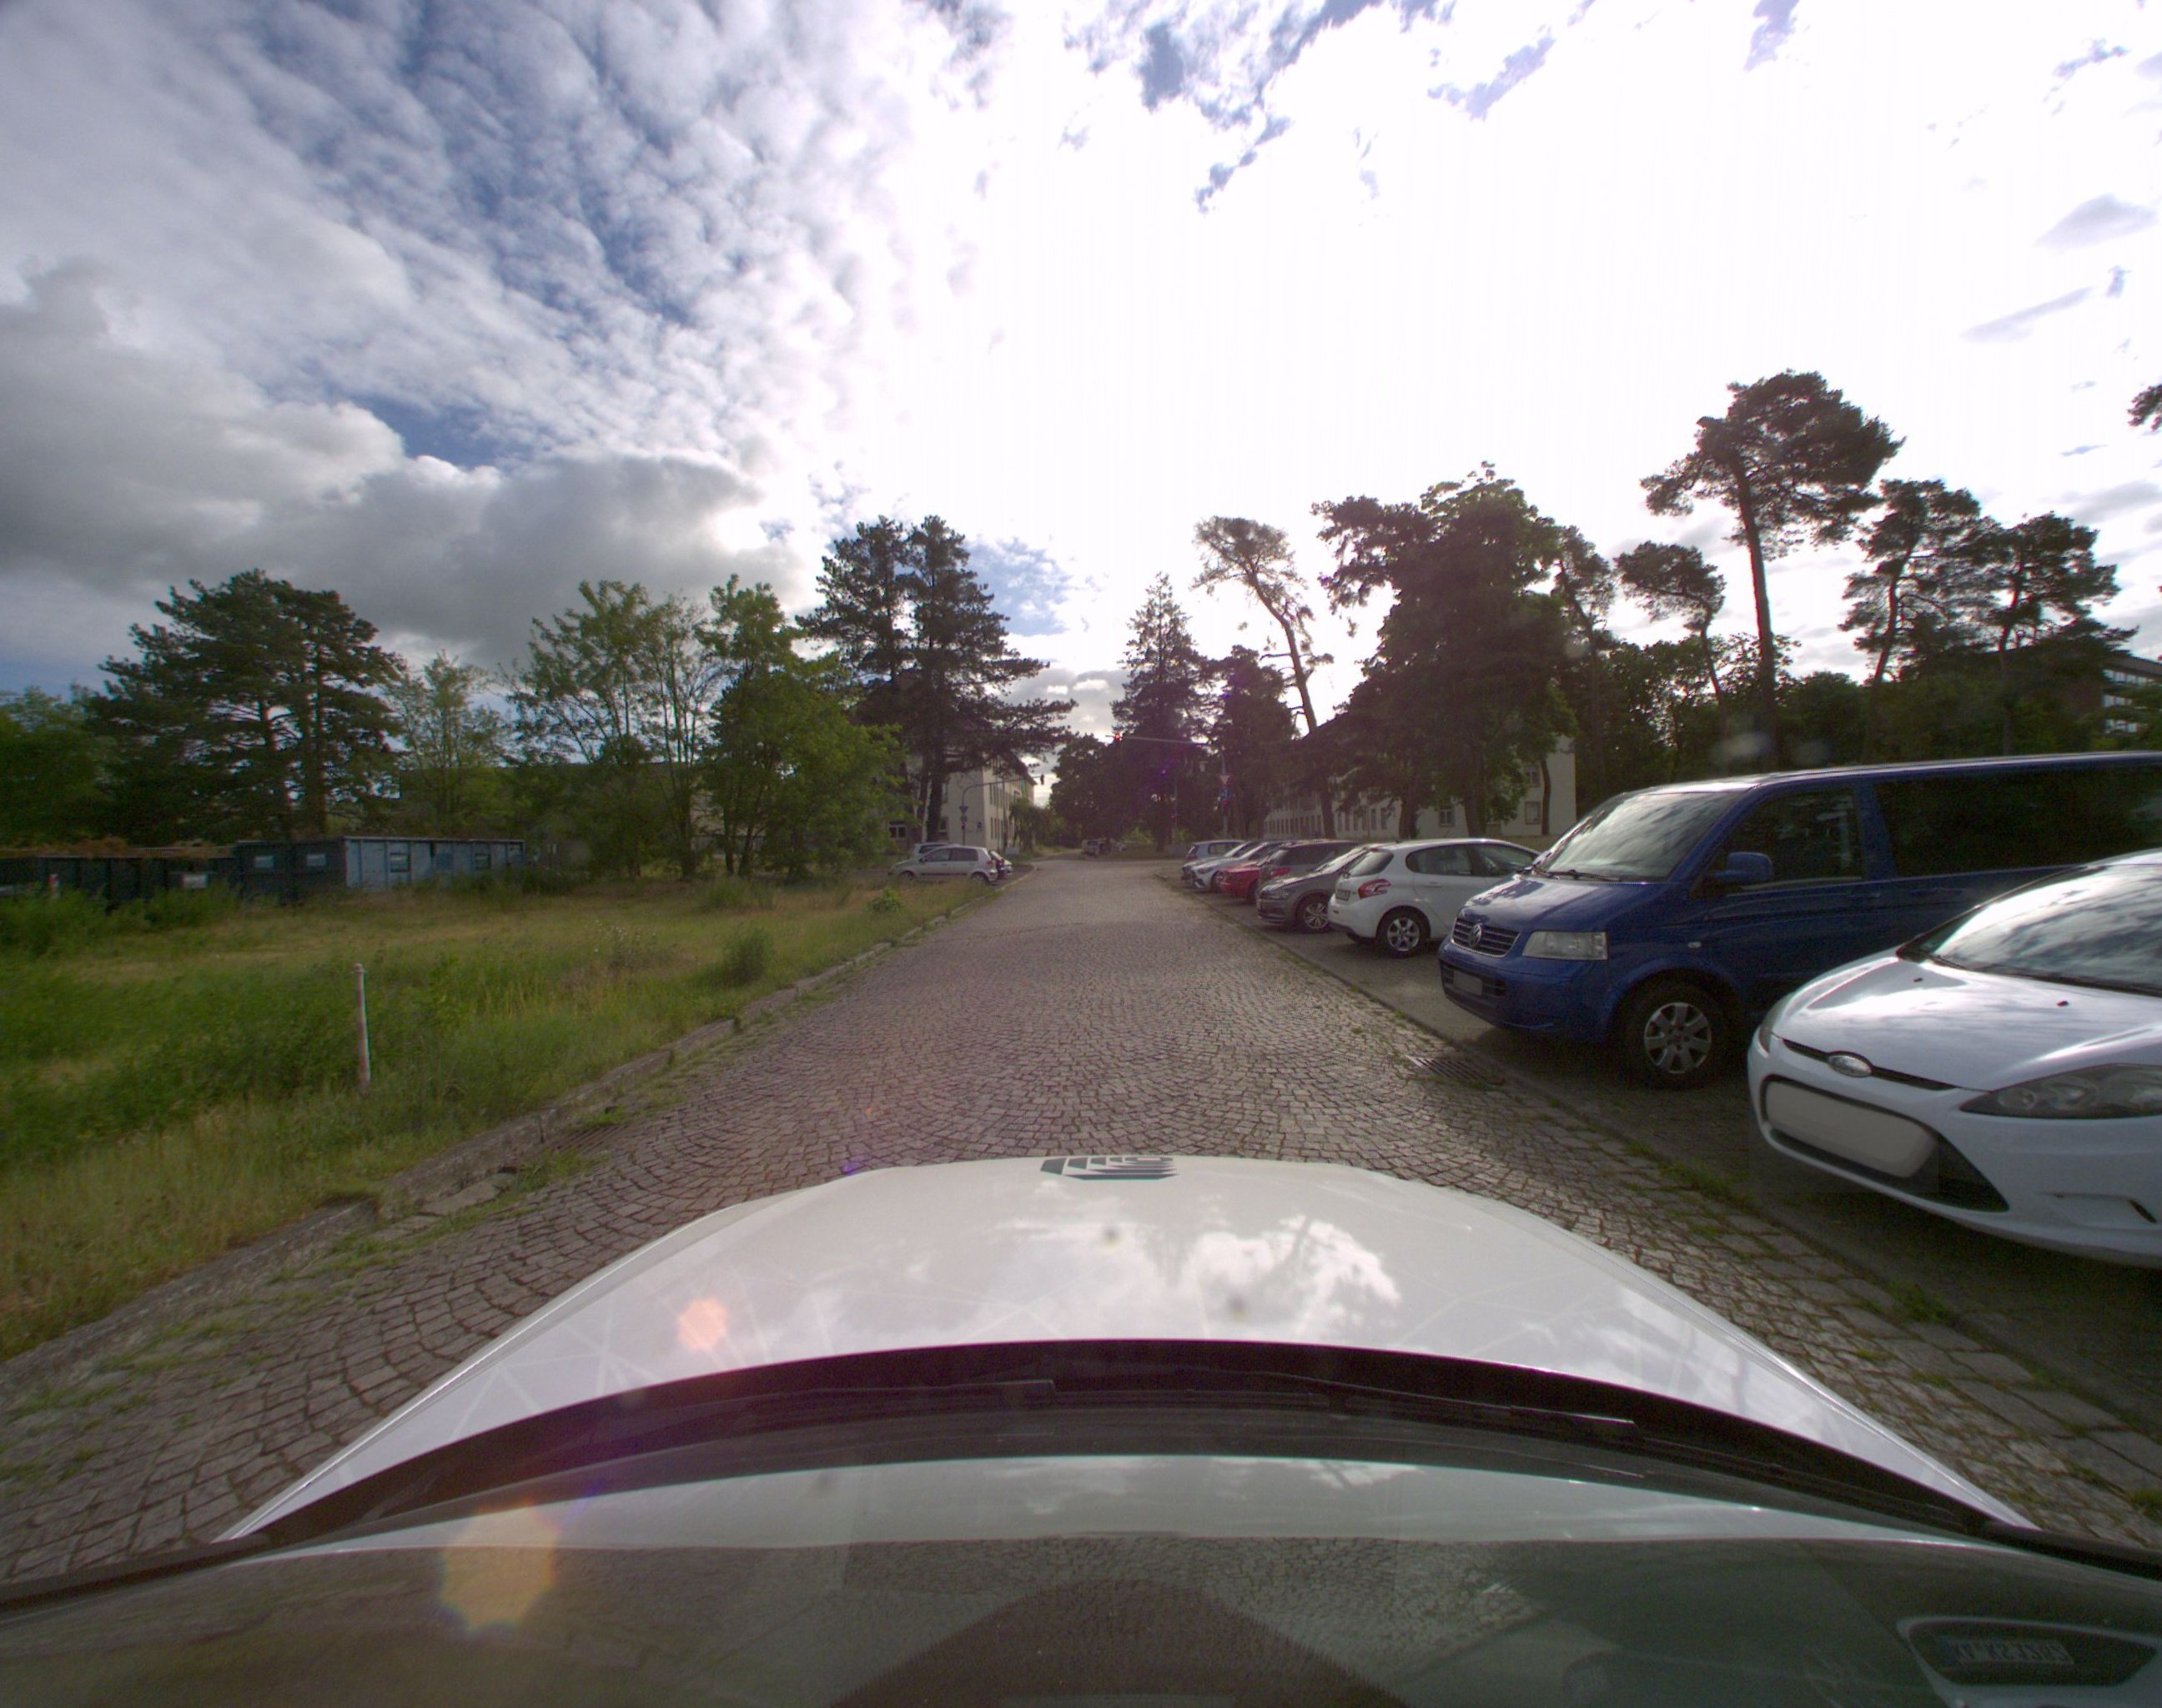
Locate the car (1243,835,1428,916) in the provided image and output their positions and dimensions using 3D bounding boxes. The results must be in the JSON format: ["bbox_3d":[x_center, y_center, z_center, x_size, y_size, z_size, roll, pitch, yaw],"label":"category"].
[{"bbox_3d":[5.269,0.405,17.055,3.293,1.504,1.658,-2,1,-10],"label":"car"}]

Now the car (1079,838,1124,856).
[{"bbox_3d":[2.451,-0.881,96.436,5.051,2.013,1.993,-1,1,-10],"label":"car"}]

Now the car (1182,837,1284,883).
[{"bbox_3d":[5.487,0.187,29.635,3.384,1.543,1.388,-2,1,-6],"label":"car"}]

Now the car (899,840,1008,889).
[{"bbox_3d":[-4.824,0.363,31.320,3.981,1.705,1.996,-2,1,-6],"label":"car"}]

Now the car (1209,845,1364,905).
[{"bbox_3d":[4.927,0.470,19.771,3.287,1.267,1.661,-2,1,-6],"label":"car"}]

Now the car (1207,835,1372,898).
[{"bbox_3d":[5.573,0.298,22.017,3.981,1.543,1.661,-1,1,-6],"label":"car"}]

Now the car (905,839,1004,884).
[{"bbox_3d":[-5.267,0.281,34.355,3.983,1.749,1.923,-1,1,-7],"label":"car"}]

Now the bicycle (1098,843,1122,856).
[{"bbox_3d":[2.795,-0.430,78.613,2.158,1.268,0.811,-1,1,-6],"label":"bicycle"}]

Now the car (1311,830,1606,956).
[{"bbox_3d":[5.050,0.479,11.203,3.283,1.504,1.663,-2,1,-2],"label":"car"}]

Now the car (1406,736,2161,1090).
[{"bbox_3d":[5.054,0.325,5.817,4.768,2.039,1.738,-2,1,-1],"label":"car"}]

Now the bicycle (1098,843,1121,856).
[{"bbox_3d":[2.799,-0.432,79.201,2.158,1.268,0.811,-1,1,-6],"label":"bicycle"}]

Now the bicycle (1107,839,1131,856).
[{"bbox_3d":[3.733,-0.615,79.909,2.158,1.615,0.811,-1,1,-6],"label":"bicycle"}]

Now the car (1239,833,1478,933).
[{"bbox_3d":[4.761,0.447,14.177,3.598,1.506,1.658,-2,1,-10],"label":"car"}]

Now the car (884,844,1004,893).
[{"bbox_3d":[-4.757,0.476,28.827,3.981,1.552,1.996,-2,1,-6],"label":"car"}]

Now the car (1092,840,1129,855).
[{"bbox_3d":[3.374,-0.745,93.159,3.981,1.644,1.996,-1,1,-6],"label":"car"}]

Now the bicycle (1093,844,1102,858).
[{"bbox_3d":[1.497,-0.310,74.855,0.807,1.268,1.974,-1,1,2],"label":"bicycle"}]

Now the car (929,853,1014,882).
[{"bbox_3d":[-4.845,0.585,36.545,3.666,1.093,1.643,-2,1,-6],"label":"car"}]

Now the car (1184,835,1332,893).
[{"bbox_3d":[5.210,0.255,24.253,3.981,1.543,1.661,-2,1,-6],"label":"car"}]

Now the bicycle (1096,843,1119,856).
[{"bbox_3d":[2.578,-0.434,80.414,2.158,1.268,0.811,-1,1,-6],"label":"bicycle"}]

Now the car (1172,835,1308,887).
[{"bbox_3d":[5.226,0.214,27.065,4.116,1.543,1.661,-2,1,-6],"label":"car"}]

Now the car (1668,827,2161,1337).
[{"bbox_3d":[4.846,0.625,3.339,3.713,1.424,1.653,-3,1,-2],"label":"car"}]
